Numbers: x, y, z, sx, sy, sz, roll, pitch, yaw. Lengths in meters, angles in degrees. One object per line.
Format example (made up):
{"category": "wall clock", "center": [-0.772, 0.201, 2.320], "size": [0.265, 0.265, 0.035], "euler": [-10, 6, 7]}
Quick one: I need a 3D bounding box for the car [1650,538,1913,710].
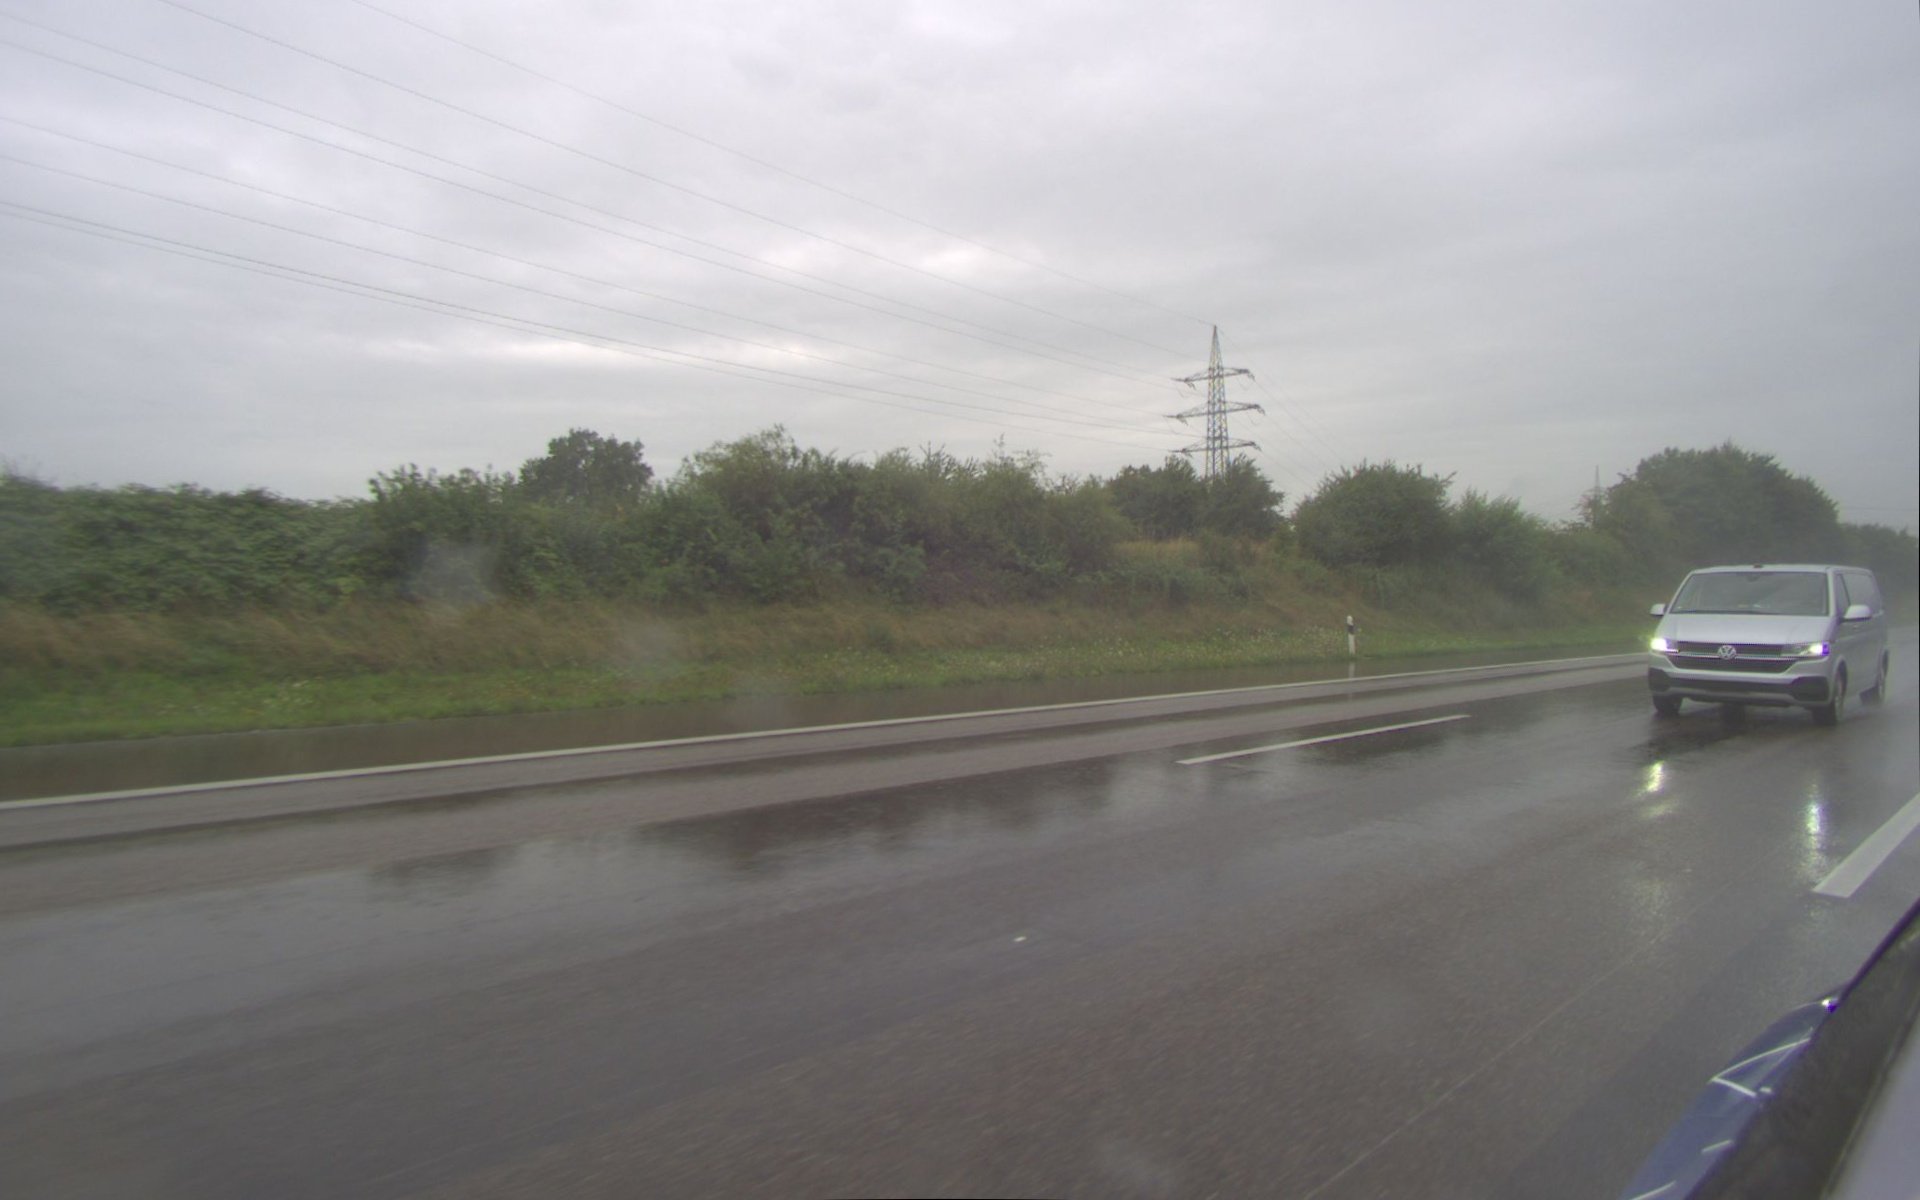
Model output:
{"category": "car", "center": [11.123, 0.274, 13.556], "size": [4.921, 1.908, 1.890], "euler": [0, -1, -41]}
